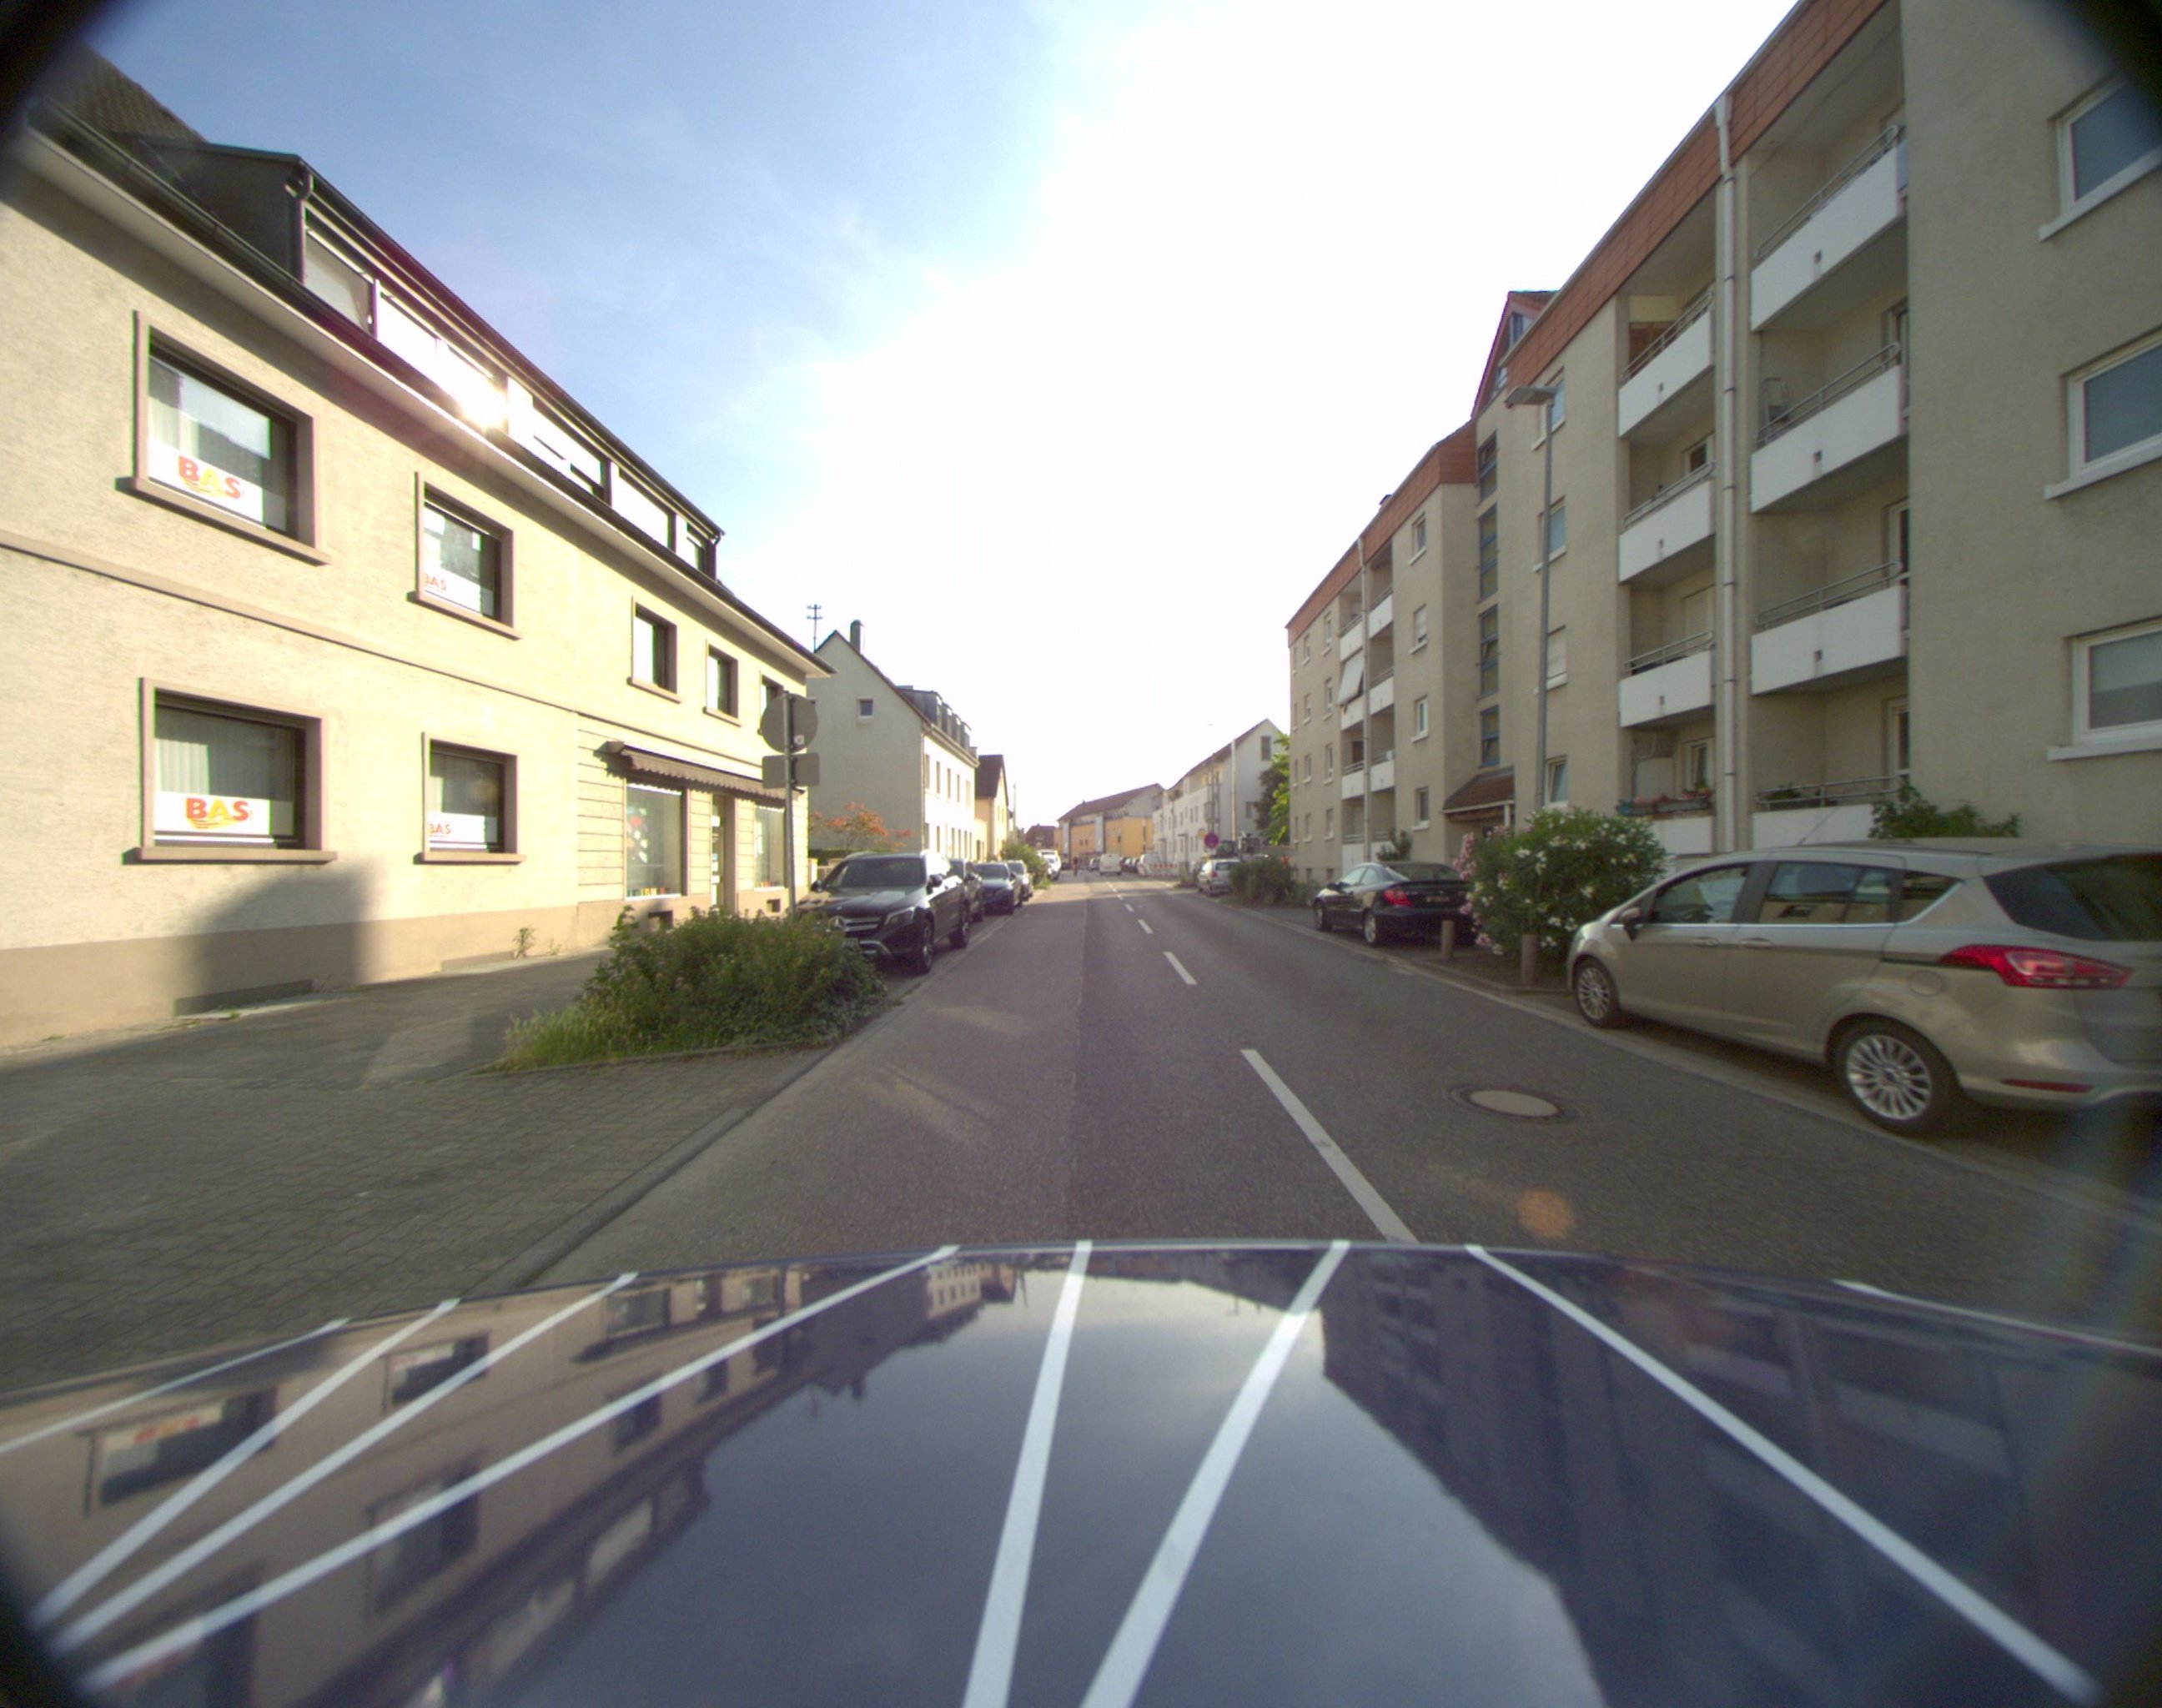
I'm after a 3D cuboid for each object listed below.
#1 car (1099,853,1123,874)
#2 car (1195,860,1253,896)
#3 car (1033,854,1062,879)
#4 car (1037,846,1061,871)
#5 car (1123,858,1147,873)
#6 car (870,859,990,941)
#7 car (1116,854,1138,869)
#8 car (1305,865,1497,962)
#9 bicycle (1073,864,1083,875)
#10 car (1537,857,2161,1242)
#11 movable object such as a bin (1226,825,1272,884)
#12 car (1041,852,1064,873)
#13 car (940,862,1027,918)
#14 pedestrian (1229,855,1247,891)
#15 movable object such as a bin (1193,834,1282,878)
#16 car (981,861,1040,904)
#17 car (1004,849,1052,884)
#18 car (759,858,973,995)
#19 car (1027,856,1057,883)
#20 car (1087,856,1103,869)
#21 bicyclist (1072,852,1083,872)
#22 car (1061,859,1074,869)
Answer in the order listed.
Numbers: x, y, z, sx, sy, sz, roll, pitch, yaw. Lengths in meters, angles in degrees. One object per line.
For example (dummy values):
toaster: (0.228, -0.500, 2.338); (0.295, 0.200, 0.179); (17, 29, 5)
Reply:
car: (2.572, 0.822, 66.223); (1.927, 1.756, 4.338); (1, 0, 0)
car: (5.920, 0.951, 31.800); (1.644, 1.387, 3.671); (-1, 0, -1)
car: (-2.316, 0.851, 53.468); (1.817, 1.674, 4.476); (1, 0, 0)
car: (-3.050, 0.452, 73.047); (2.180, 2.314, 4.996); (0, 0, -2)
car: (5.657, 1.142, 79.914); (1.732, 1.469, 4.261); (-3, 0, -7)
car: (-3.190, 0.910, 16.905); (1.834, 1.551, 4.317); (0, 0, 0)
car: (5.124, 0.793, 85.764); (1.732, 1.612, 4.261); (0, 0, -7)
car: (5.465, 0.936, 13.596); (1.690, 1.397, 4.084); (-1, 0, 0)
bicycle: (-0.251, 1.271, 63.654); (0.680, 0.849, 2.026); (-1, 0, -6)
car: (5.135, 0.828, 5.151); (1.731, 1.546, 3.965); (-2, 0, 1)
movable object such as a bin: (9.314, 0.056, 42.355); (1.652, 3.119, 3.900); (0, 0, -1)
car: (-2.470, 0.756, 66.493); (1.782, 1.731, 4.483); (2, 0, -1)
car: (-2.696, 0.965, 21.990); (1.834, 1.412, 4.609); (0, 0, 1)
pedestrian: (7.907, 0.965, 38.299); (0.720, 1.808, 0.745); (-1, 0, 1)
movable object such as a bin: (10.748, 0.128, 52.375); (5.516, 2.883, 2.110); (-1, 0, -11)
car: (-2.514, 0.994, 28.170); (1.784, 1.411, 4.496); (-1, 0, 0)
car: (-2.921, 0.696, 42.867); (2.080, 1.845, 4.611); (1, -1, 3)
car: (-2.891, 0.879, 11.306); (1.834, 1.620, 4.463); (0, 0, 1)
car: (-2.433, 0.941, 48.172); (1.593, 1.519, 4.613); (1, 0, 0)
car: (1.587, 0.961, 86.769); (1.622, 1.446, 3.685); (0, 0, -1)
bicyclist: (-0.283, 0.670, 63.732); (0.845, 1.679, 0.877); (-1, 0, -6)
car: (-2.021, 1.520, 112.624); (1.835, 1.411, 4.207); (0, 0, -3)
